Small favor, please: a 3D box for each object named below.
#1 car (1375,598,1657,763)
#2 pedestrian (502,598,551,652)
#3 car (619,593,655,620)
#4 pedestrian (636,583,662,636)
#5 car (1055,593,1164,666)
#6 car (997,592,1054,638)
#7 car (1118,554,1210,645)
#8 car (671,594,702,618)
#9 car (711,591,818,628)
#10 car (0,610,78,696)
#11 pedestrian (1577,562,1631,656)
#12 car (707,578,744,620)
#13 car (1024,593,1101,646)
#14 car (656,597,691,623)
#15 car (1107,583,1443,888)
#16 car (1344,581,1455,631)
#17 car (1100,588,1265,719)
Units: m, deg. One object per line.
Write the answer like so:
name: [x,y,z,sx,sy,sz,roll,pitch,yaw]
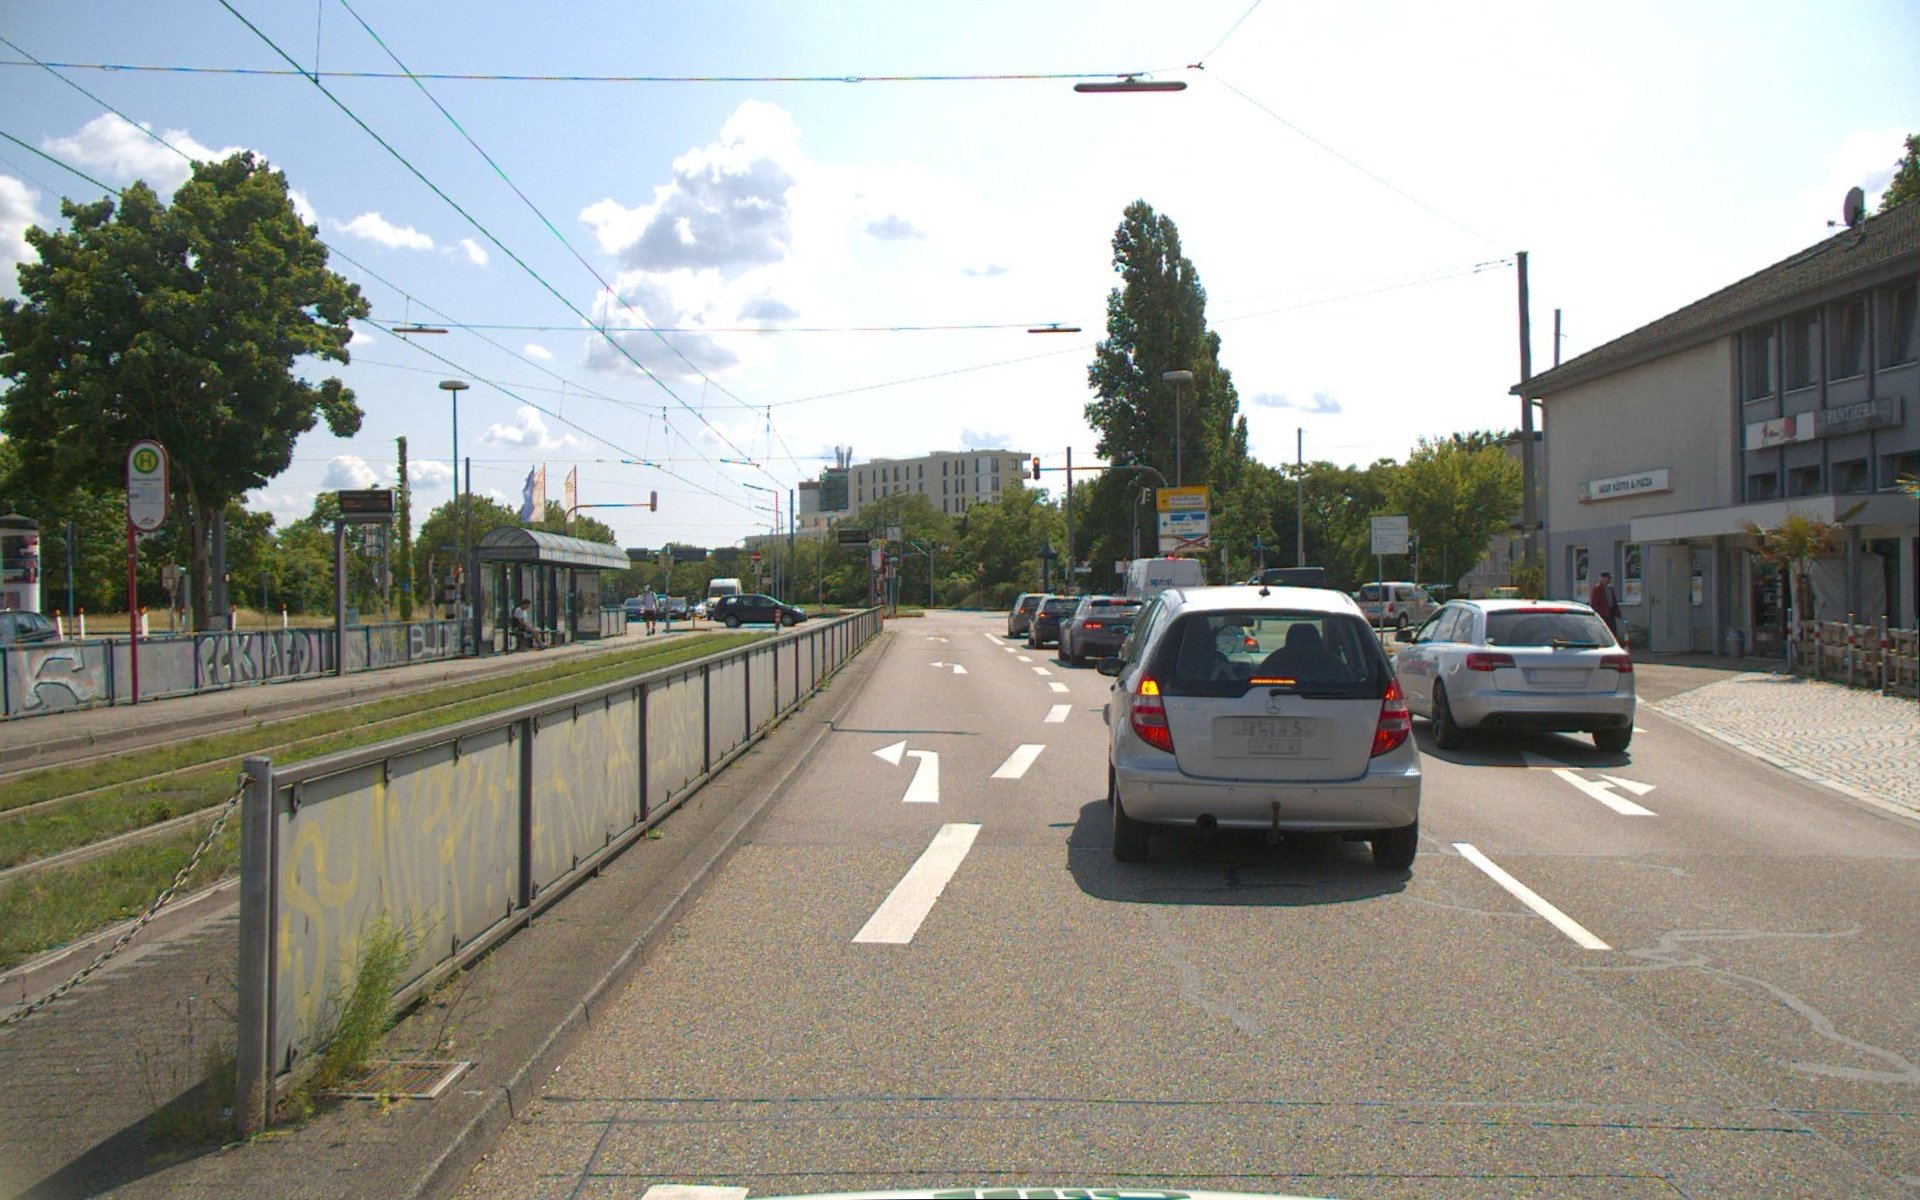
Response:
car: [5.760,0.745,17.722,1.815,1.518,4.538,0,0,5]
pedestrian: [-11.349,0.658,43.329,1.037,1.400,0.860,0,0,-1]
car: [-20.887,0.414,107.047,1.826,1.680,3.996,0,0,-5]
pedestrian: [-10.850,0.319,57.681,0.791,1.826,0.708,-1,0,-4]
car: [3.217,0.601,36.462,1.849,1.473,4.827,0,0,-1]
car: [2.204,0.487,56.584,1.709,1.525,4.378,0,0,-1]
car: [6.154,-0.042,50.416,1.999,2.602,5.229,-1,0,-2]
car: [-18.747,0.395,113.574,1.767,1.568,4.160,0,0,-5]
car: [-9.047,0.449,76.824,4.576,1.576,2.001,-1,0,4]
car: [-19.874,1.068,33.369,2.021,1.642,4.746,-1,0,-7]
pedestrian: [12.891,0.175,33.117,0.707,1.813,0.703,-3,0,1]
car: [-15.229,-0.065,107.485,1.954,2.651,4.875,0,0,-3]
car: [2.873,0.528,47.137,1.832,1.444,4.099,0,0,-1]
car: [-18.144,0.613,104.731,1.859,1.568,3.725,0,0,-5]
car: [1.873,0.711,10.844,1.749,1.604,4.097,-1,0,6]
car: [16.707,0.225,62.838,4.045,1.761,1.868,-1,-2,-34]
car: [2.785,0.614,21.600,1.702,1.518,4.631,0,0,2]
